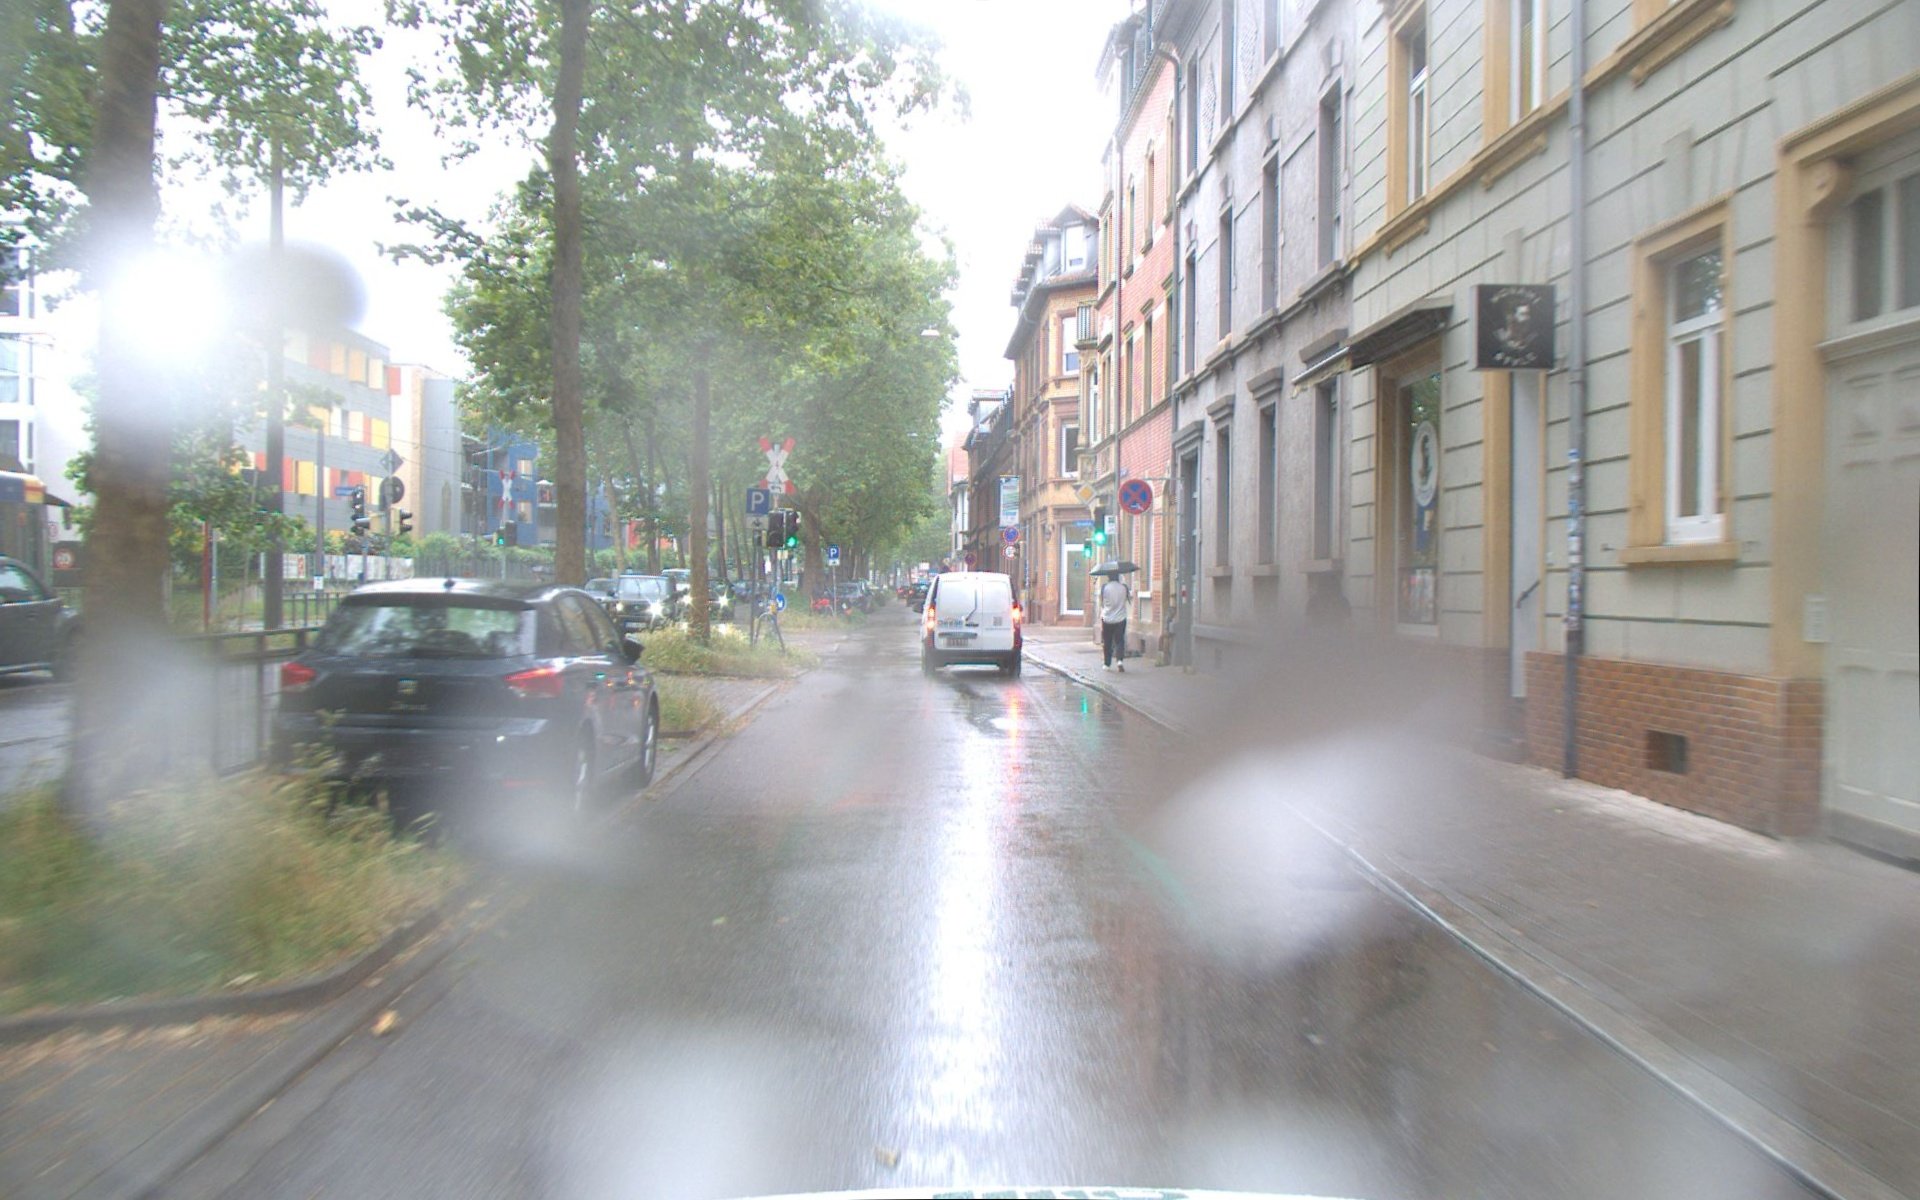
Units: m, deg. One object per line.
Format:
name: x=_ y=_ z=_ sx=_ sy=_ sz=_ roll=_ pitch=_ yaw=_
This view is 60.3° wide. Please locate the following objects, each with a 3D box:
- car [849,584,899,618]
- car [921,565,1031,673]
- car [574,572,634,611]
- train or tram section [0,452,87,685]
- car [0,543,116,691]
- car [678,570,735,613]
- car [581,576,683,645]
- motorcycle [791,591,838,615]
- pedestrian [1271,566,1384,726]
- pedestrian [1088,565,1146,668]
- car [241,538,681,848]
car: x=-3.653 y=0.026 z=71.093 sx=1.953 sy=1.411 sz=4.000 roll=1 pitch=1 yaw=-1
car: x=0.236 y=0.351 z=30.450 sx=1.865 sy=1.829 sz=4.112 roll=1 pitch=-1 yaw=-1
car: x=-13.650 y=-0.348 z=63.607 sx=1.956 sy=1.440 sz=3.993 roll=1 pitch=1 yaw=-8
train or tram section: x=-16.228 y=-0.558 z=20.983 sx=3.043 sy=3.621 sz=14.667 roll=0 pitch=-1 yaw=-2
car: x=-11.650 y=0.167 z=19.011 sx=1.954 sy=1.641 sz=3.998 roll=1 pitch=1 yaw=-3
car: x=-10.045 y=-0.360 z=65.896 sx=1.958 sy=1.641 sz=4.119 roll=1 pitch=1 yaw=-5
car: x=-8.348 y=0.232 z=42.402 sx=1.957 sy=1.641 sz=3.998 roll=1 pitch=1 yaw=-3
motorcycle: x=-5.491 y=0.098 z=62.435 sx=1.670 sy=0.880 sz=0.577 roll=1 pitch=1 yaw=3
pedestrian: x=3.723 y=0.447 z=16.842 sx=0.823 sy=1.538 sz=1.107 roll=-2 pitch=1 yaw=-1
pedestrian: x=2.772 y=0.280 z=29.273 sx=0.823 sy=1.746 sz=1.107 roll=-3 pitch=1 yaw=-1
car: x=-2.894 y=0.469 z=10.519 sx=1.616 sy=1.526 sz=4.117 roll=2 pitch=0 yaw=-2
